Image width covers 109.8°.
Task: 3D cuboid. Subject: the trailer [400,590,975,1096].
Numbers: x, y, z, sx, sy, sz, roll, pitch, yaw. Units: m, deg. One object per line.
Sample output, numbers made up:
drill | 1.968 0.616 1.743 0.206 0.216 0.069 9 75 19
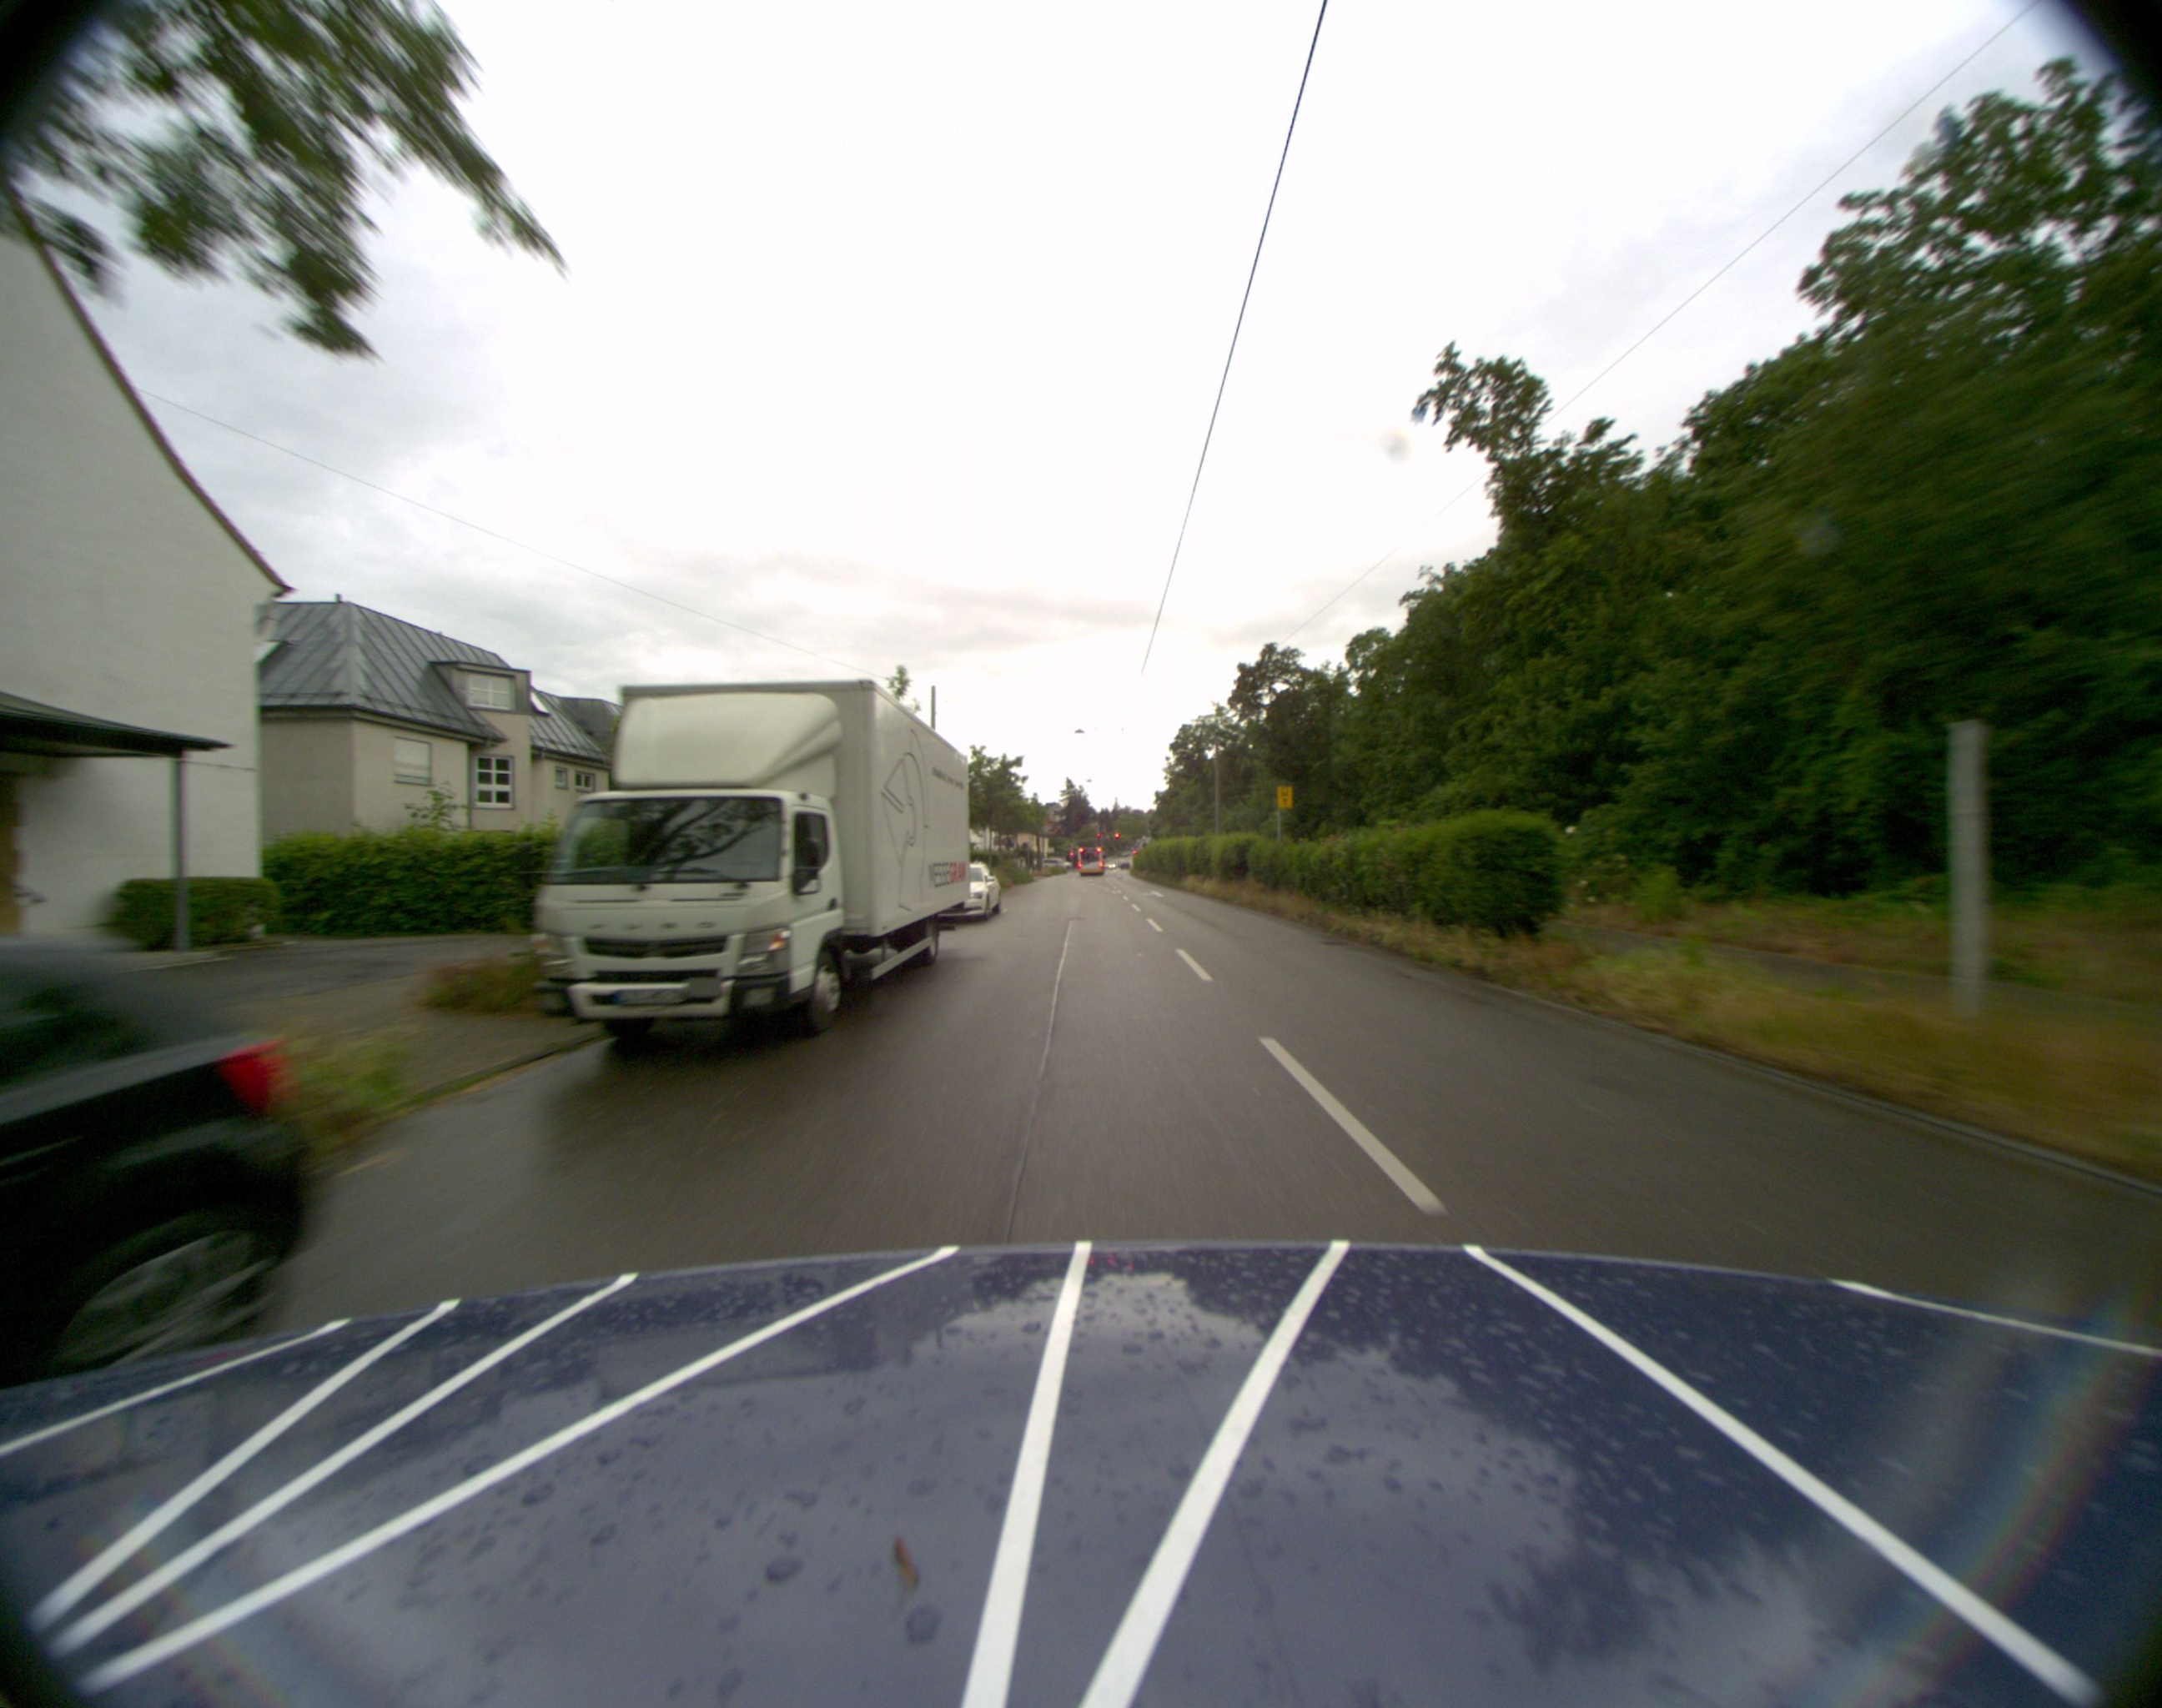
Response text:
trailer | -3.360 -0.083 9.521 2.741 3.488 8.246 -2 0 0

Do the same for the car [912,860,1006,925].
car | -3.159 0.947 20.601 1.800 1.465 4.548 -2 0 -1

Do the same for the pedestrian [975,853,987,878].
pedestrian | -7.124 0.840 54.103 0.635 1.722 0.714 -1 2 2

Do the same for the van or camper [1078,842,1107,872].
van or camper | 1.371 0.281 85.090 2.862 3.160 6.851 -2 0 3

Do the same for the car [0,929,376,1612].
car | -3.304 1.024 0.618 1.645 1.455 4.000 -2 0 0

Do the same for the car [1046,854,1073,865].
car | -4.110 1.050 147.204 5.049 1.967 2.001 -2 0 5
